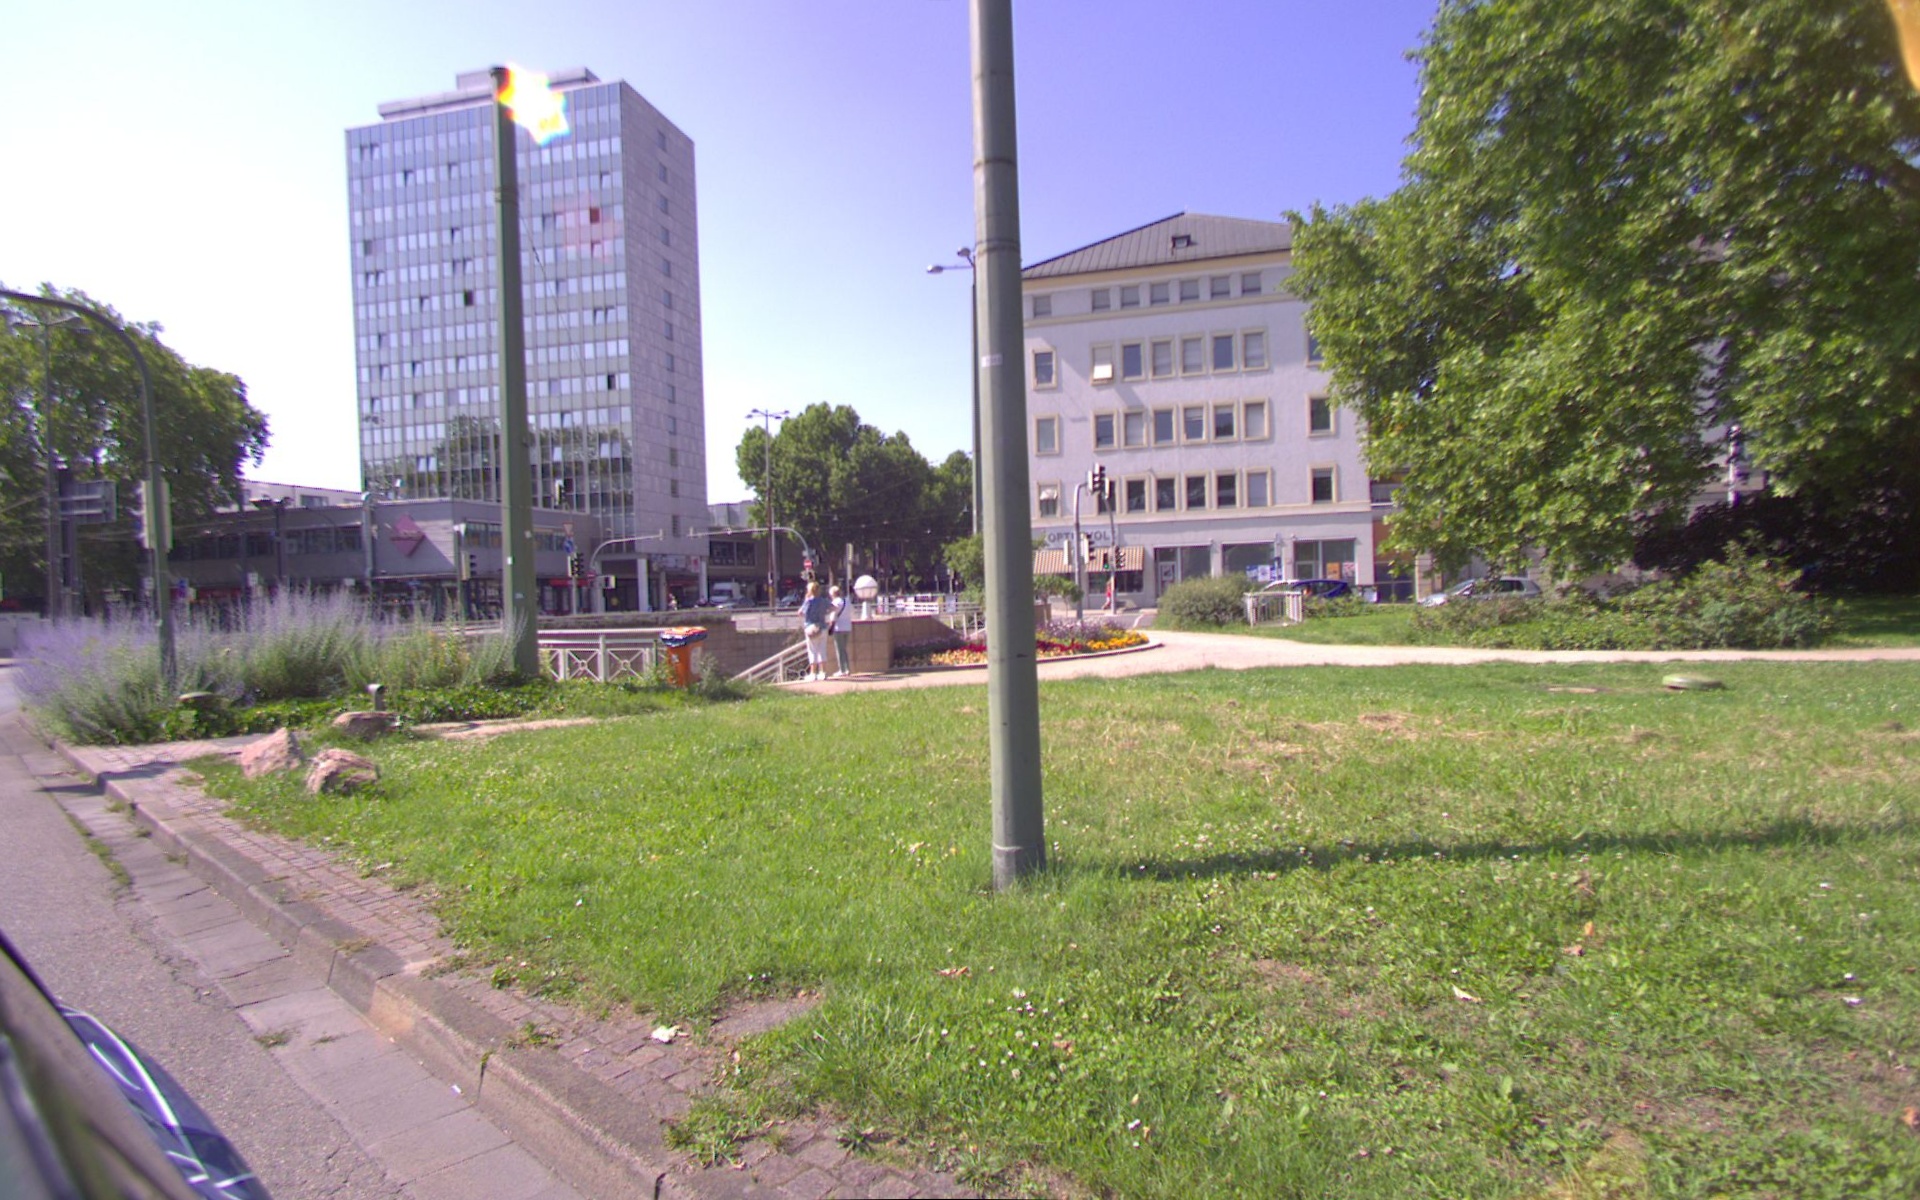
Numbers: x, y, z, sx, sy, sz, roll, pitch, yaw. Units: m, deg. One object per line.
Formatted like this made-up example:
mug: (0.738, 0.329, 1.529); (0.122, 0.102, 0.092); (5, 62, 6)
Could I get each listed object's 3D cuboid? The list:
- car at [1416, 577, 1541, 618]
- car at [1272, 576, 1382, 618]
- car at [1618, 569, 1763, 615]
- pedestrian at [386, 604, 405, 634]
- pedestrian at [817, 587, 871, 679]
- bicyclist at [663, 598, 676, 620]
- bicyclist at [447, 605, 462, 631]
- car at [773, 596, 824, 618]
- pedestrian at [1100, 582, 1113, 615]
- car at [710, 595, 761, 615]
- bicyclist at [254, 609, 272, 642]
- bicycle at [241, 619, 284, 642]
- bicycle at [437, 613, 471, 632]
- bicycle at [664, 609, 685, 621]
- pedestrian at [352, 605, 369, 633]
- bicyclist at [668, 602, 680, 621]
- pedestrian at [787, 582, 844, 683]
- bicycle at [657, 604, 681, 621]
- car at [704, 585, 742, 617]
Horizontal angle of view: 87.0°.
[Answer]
car: (18.036, -0.103, 35.364); (3.550, 1.278, 1.605); (-2, 1, 14)
car: (13.276, -0.102, 36.773); (3.550, 1.356, 1.605); (-2, 1, 14)
car: (24.454, -0.273, 33.989); (3.550, 1.389, 1.605); (-2, 1, 14)
pedestrian: (-35.558, 1.167, 63.721); (0.664, 1.850, 0.820); (-1, 0, 12)
pedestrian: (-1.961, 0.547, 17.173); (0.472, 1.521, 0.844); (-2, 0, 26)
bicyclist: (-24.000, 0.731, 83.567); (0.694, 1.781, 0.677); (0, 1, 31)
bicyclist: (-33.637, 1.187, 67.348); (0.584, 1.700, 0.674); (-2, 0, 44)
car: (-12.510, 0.500, 78.754); (1.873, 1.545, 4.042); (-2, 1, 26)
pedestrian: (7.783, -0.081, 53.754); (0.635, 1.772, 0.592); (-1, 0, 14)
car: (-18.360, 0.413, 82.972); (1.873, 1.471, 4.127); (-2, 1, 26)
bicyclist: (-36.819, 1.333, 53.448); (0.521, 1.719, 0.675); (-1, 0, 41)
bicycle: (-36.817, 1.597, 53.435); (0.521, 1.175, 1.792); (-1, 0, 41)
bicycle: (-33.646, 1.496, 67.317); (0.577, 1.110, 1.941); (-2, 1, 43)
bicycle: (-23.021, 1.239, 81.561); (0.589, 0.889, 1.796); (0, 1, 24)
pedestrian: (-38.912, 1.245, 65.704); (0.810, 1.820, 0.672); (-1, 0, -39)
bicyclist: (-23.032, 0.915, 81.532); (0.579, 1.538, 0.678); (0, 1, 24)
pedestrian: (-2.353, 0.521, 16.501); (0.596, 1.605, 0.686); (-2, 0, 26)
bicycle: (-24.016, 1.008, 83.527); (0.714, 1.309, 1.920); (0, 1, 30)
car: (-22.742, 0.097, 97.136); (1.729, 2.938, 4.620); (-2, 0, 11)
